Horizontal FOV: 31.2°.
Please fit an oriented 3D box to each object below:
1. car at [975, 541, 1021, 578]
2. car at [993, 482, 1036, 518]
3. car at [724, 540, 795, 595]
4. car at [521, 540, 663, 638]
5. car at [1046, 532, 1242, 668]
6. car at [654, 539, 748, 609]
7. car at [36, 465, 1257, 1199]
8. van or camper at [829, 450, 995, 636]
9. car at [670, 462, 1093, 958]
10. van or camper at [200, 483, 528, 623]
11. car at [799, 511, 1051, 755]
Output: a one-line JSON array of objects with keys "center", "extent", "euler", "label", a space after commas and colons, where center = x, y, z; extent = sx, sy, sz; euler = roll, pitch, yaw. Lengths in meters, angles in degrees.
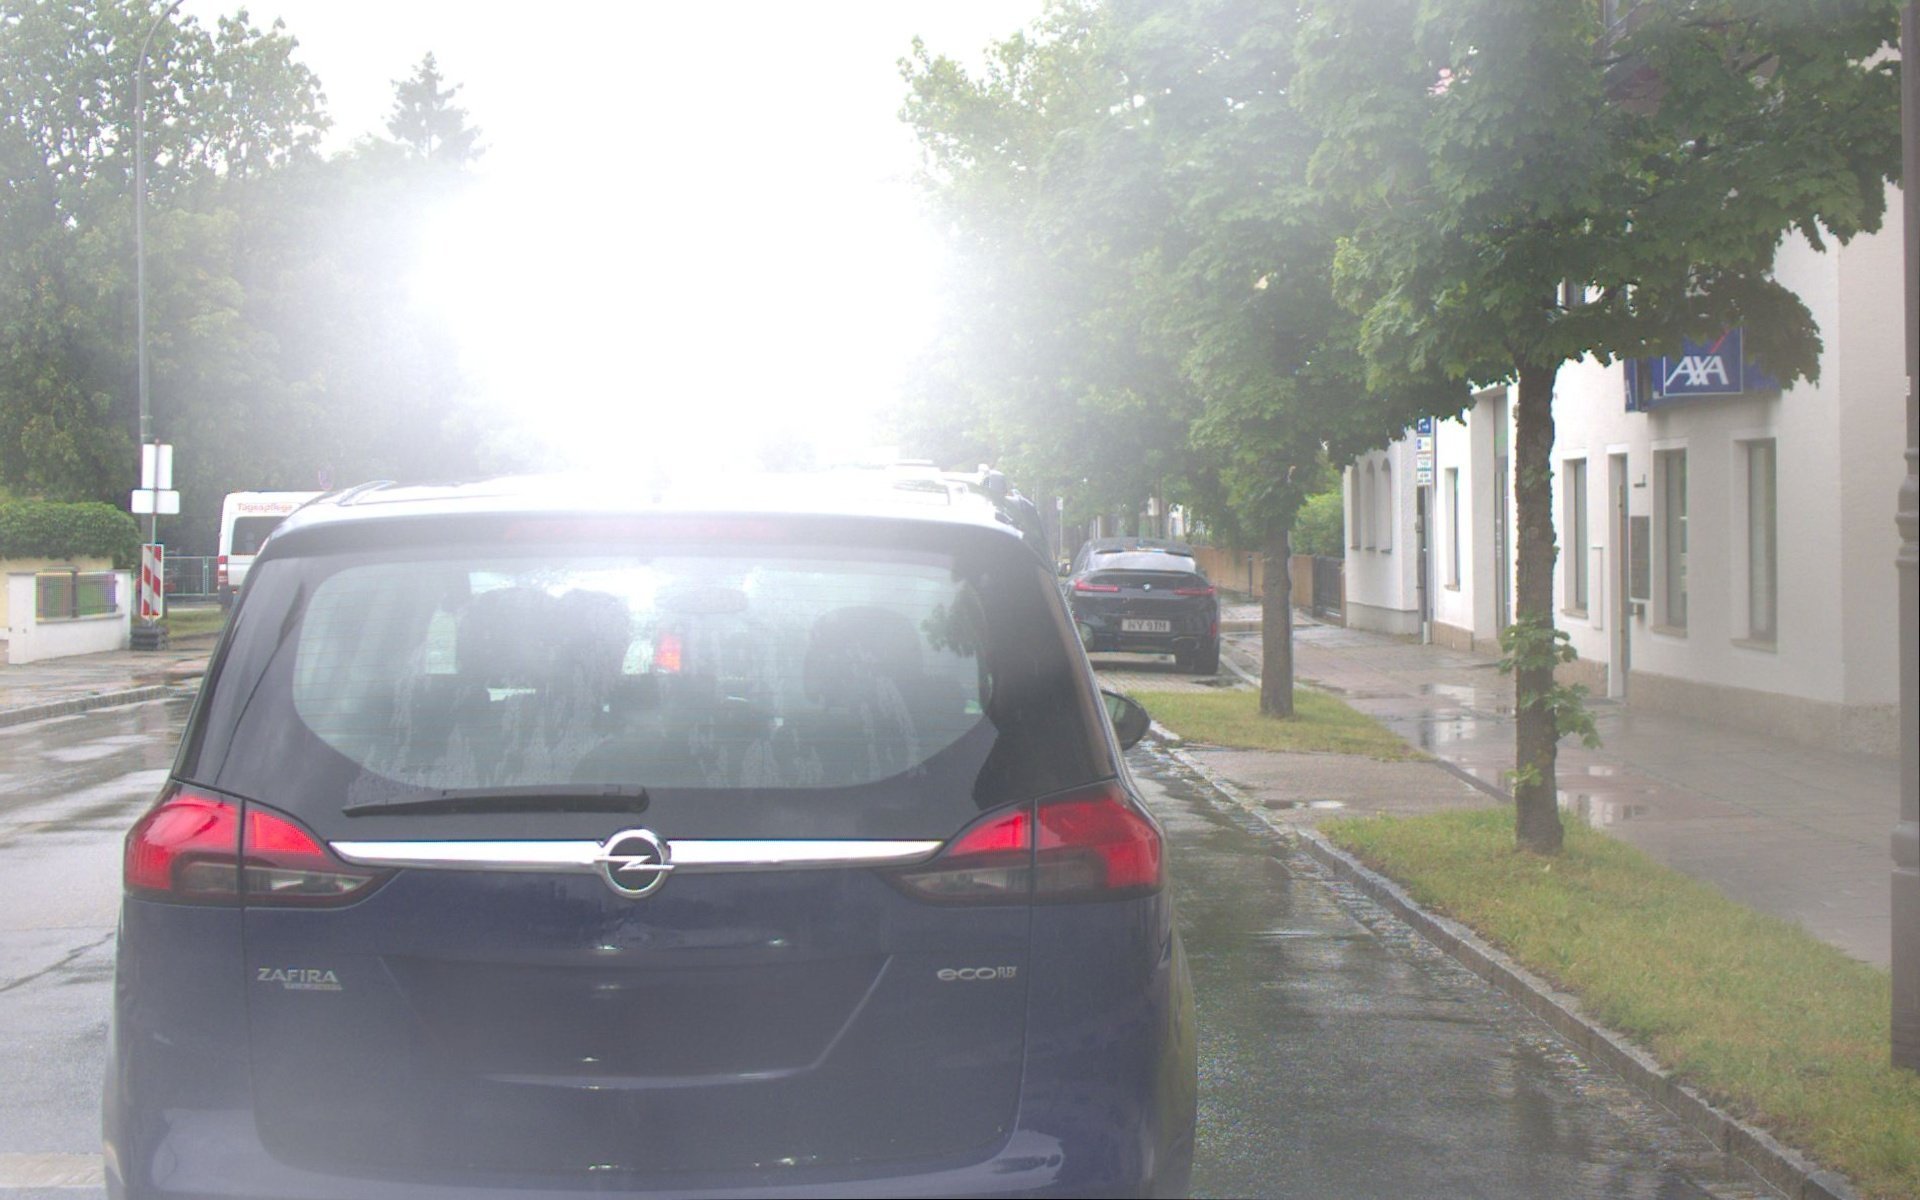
[{"center": [1.441, -1.545, 131.751], "extent": [1.630, 1.373, 3.623], "euler": [1, 0, -1], "label": "car"}, {"center": [2.212, -4.086, 141.142], "extent": [1.630, 1.373, 3.623], "euler": [-1, 1, -1], "label": "car"}, {"center": [-5.794, -0.964, 99.671], "extent": [1.752, 1.506, 4.230], "euler": [-2, 1, 0], "label": "car"}, {"center": [-6.205, -0.208, 58.358], "extent": [1.967, 1.557, 4.152], "euler": [-1, 1, -1], "label": "car"}, {"center": [2.236, -0.023, 42.866], "extent": [2.117, 1.576, 3.936], "euler": [1, 1, -1], "label": "car"}, {"center": [-5.972, -0.624, 79.533], "extent": [1.926, 1.561, 4.126], "euler": [-1, 1, -1], "label": "car"}, {"center": [-0.483, 0.585, 6.868], "extent": [1.768, 1.599, 3.663], "euler": [1, 1, -1], "label": "car"}, {"center": [-0.721, -0.867, 52.131], "extent": [2.360, 2.656, 5.372], "euler": [-1, 1, -1], "label": "van or camper"}, {"center": [-0.300, 0.371, 13.998], "extent": [1.500, 1.770, 3.112], "euler": [1, 1, -1], "label": "car"}, {"center": [-11.764, -0.942, 68.237], "extent": [6.247, 2.698, 2.101], "euler": [-1, 1, -5], "label": "van or camper"}, {"center": [-0.265, 0.199, 25.963], "extent": [1.756, 1.700, 3.619], "euler": [-1, 1, -1], "label": "car"}]
